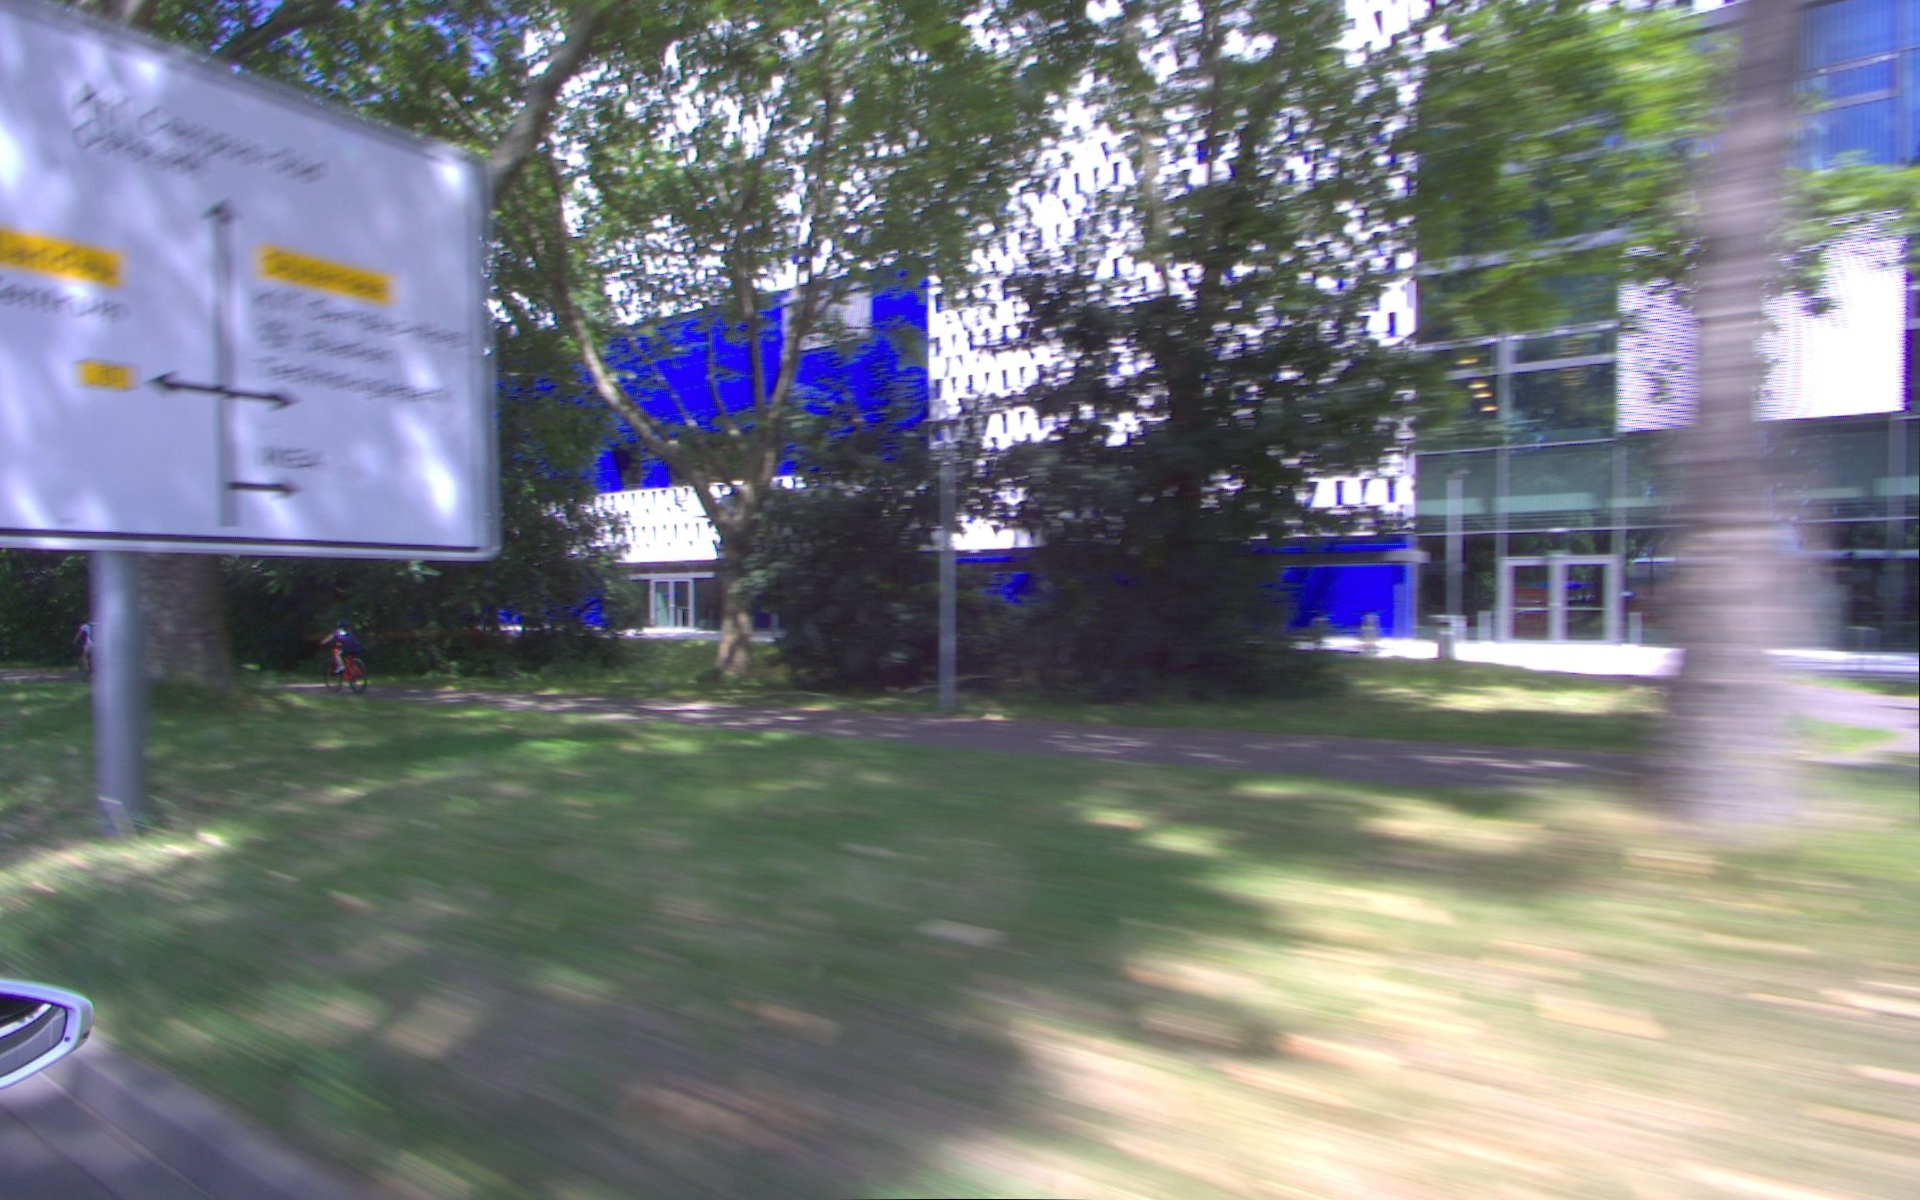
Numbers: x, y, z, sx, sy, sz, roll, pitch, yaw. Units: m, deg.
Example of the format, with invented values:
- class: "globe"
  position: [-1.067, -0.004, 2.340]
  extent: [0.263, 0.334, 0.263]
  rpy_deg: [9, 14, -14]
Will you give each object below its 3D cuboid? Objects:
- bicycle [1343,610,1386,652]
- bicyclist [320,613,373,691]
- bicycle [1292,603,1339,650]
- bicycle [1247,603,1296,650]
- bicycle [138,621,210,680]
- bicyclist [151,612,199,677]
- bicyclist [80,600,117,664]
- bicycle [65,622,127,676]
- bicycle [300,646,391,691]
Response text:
- class: "bicycle"
  position: [9.890, 0.729, 24.428]
  extent: [0.747, 0.973, 2.314]
  rpy_deg: [0, 0, 28]
- class: "bicyclist"
  position: [-13.049, 1.091, 21.298]
  extent: [0.803, 1.631, 0.623]
  rpy_deg: [0, 0, 25]
- class: "bicycle"
  position: [8.912, 0.635, 25.050]
  extent: [0.747, 1.125, 2.543]
  rpy_deg: [0, 0, 28]
- class: "bicycle"
  position: [7.978, 0.652, 25.577]
  extent: [0.747, 1.125, 2.543]
  rpy_deg: [0, 0, 28]
- class: "bicycle"
  position: [-20.229, 1.282, 25.742]
  extent: [2.624, 1.439, 0.609]
  rpy_deg: [0, 1, 33]
- class: "bicyclist"
  position: [-20.157, 1.132, 25.714]
  extent: [1.038, 1.620, 0.657]
  rpy_deg: [0, 0, 33]
- class: "bicyclist"
  position: [-24.403, 0.894, 28.362]
  extent: [0.831, 1.769, 0.596]
  rpy_deg: [0, 0, 33]
- class: "bicycle"
  position: [-24.538, 1.369, 28.415]
  extent: [2.624, 1.439, 0.609]
  rpy_deg: [0, 1, 33]
- class: "bicycle"
  position: [-13.068, 1.441, 21.298]
  extent: [1.990, 0.898, 0.645]
  rpy_deg: [0, 0, 24]
